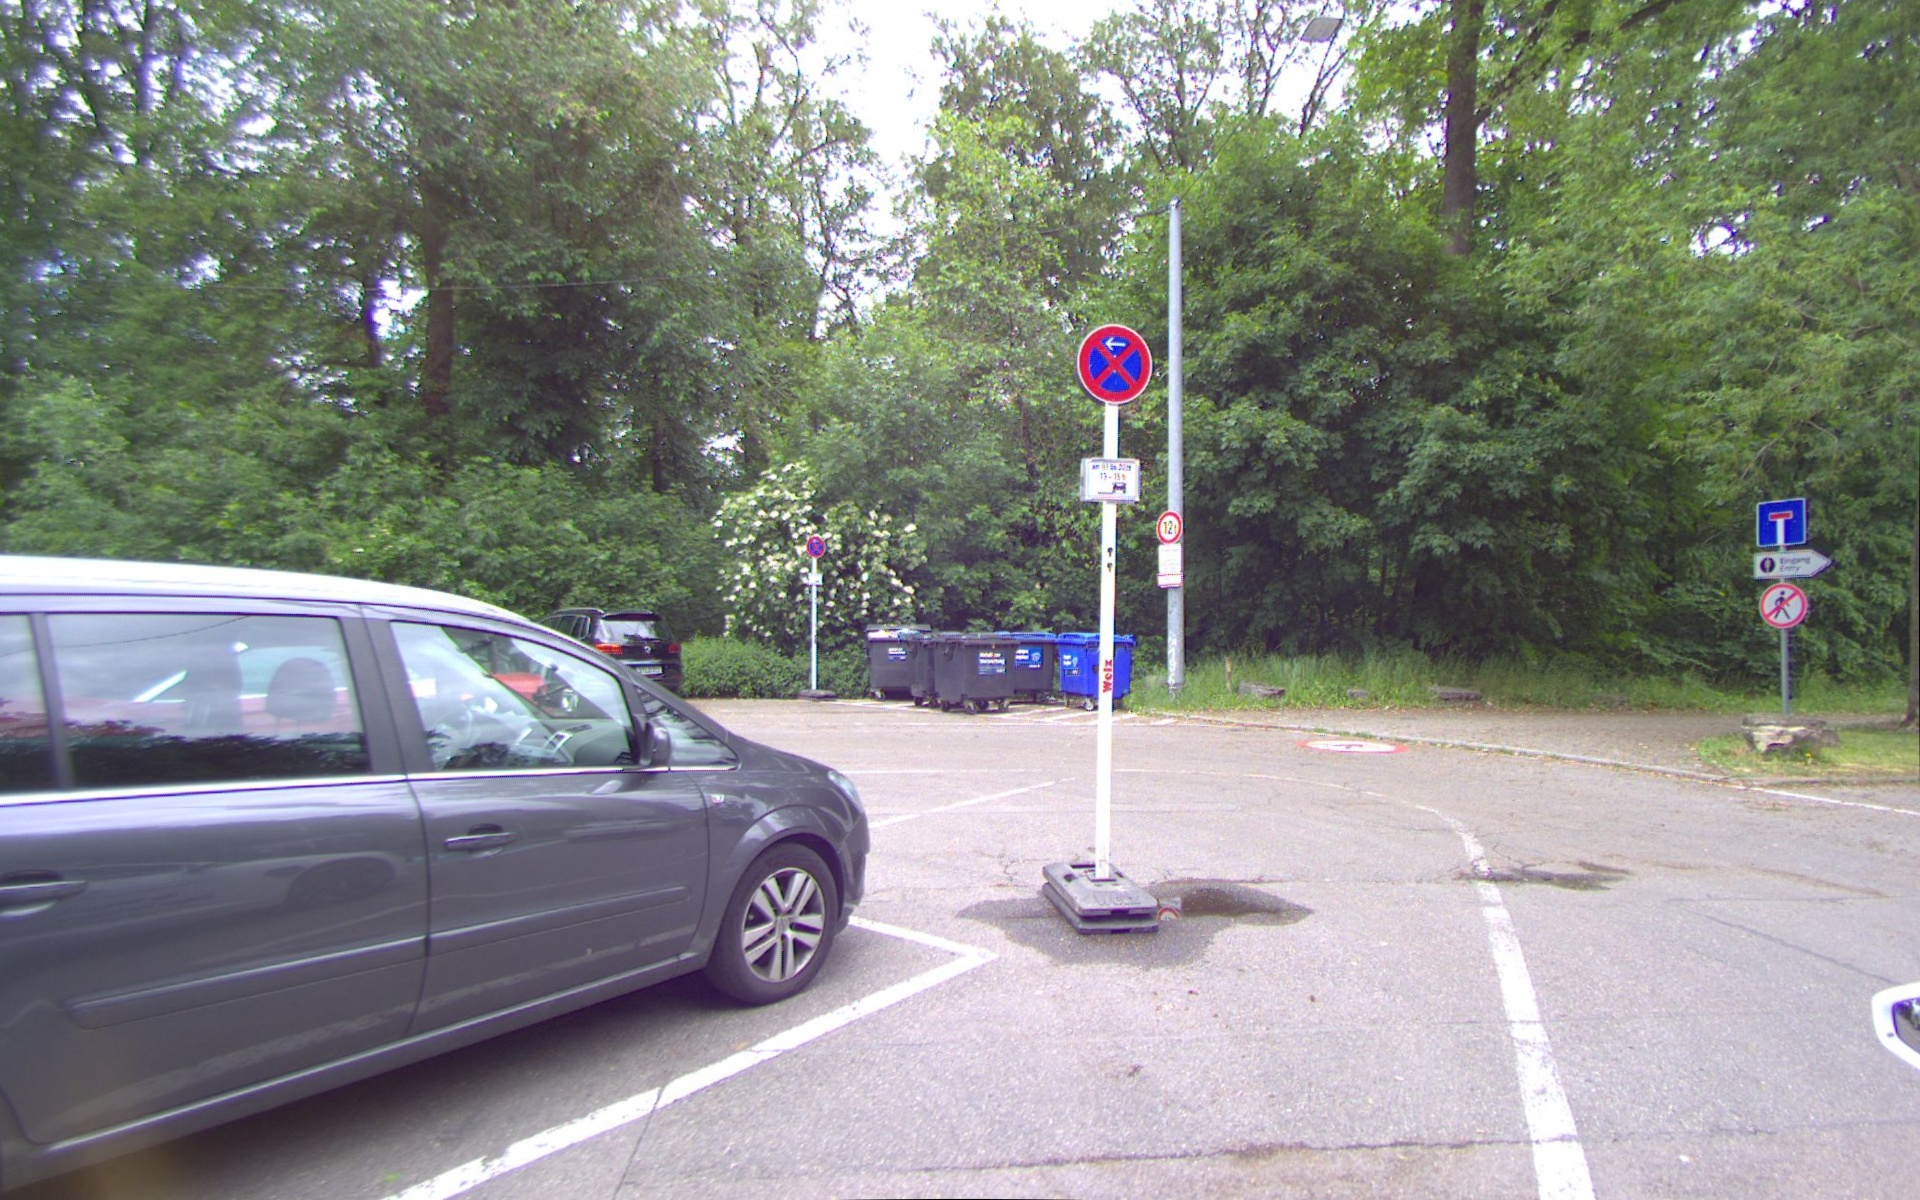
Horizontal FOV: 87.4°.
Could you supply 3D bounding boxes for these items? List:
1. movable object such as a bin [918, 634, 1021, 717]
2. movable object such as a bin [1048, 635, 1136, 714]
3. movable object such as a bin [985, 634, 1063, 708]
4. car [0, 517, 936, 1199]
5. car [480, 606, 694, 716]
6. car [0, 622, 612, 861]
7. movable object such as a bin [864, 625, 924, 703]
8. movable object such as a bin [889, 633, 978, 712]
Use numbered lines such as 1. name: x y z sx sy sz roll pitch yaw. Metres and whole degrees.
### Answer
1. movable object such as a bin: 0.153 1.242 16.970 1.301 1.324 1.161 2 -2 -36
2. movable object such as a bin: 2.346 1.311 18.039 1.128 1.342 1.252 1 -2 -19
3. movable object such as a bin: 1.193 1.325 18.989 1.218 1.337 1.125 1 -2 -11
4. car: -2.137 0.674 3.421 1.800 1.630 4.372 0 -2 37
5. car: -6.596 0.981 17.589 4.010 1.707 1.776 0 -2 40
6. car: -5.222 0.914 8.011 1.742 1.412 4.374 -1 -2 38
7. movable object such as a bin: -1.271 1.225 19.424 1.109 1.444 1.127 1 -2 -3
8. movable object such as a bin: -0.474 1.273 17.983 1.173 1.332 1.115 2 -2 -36
